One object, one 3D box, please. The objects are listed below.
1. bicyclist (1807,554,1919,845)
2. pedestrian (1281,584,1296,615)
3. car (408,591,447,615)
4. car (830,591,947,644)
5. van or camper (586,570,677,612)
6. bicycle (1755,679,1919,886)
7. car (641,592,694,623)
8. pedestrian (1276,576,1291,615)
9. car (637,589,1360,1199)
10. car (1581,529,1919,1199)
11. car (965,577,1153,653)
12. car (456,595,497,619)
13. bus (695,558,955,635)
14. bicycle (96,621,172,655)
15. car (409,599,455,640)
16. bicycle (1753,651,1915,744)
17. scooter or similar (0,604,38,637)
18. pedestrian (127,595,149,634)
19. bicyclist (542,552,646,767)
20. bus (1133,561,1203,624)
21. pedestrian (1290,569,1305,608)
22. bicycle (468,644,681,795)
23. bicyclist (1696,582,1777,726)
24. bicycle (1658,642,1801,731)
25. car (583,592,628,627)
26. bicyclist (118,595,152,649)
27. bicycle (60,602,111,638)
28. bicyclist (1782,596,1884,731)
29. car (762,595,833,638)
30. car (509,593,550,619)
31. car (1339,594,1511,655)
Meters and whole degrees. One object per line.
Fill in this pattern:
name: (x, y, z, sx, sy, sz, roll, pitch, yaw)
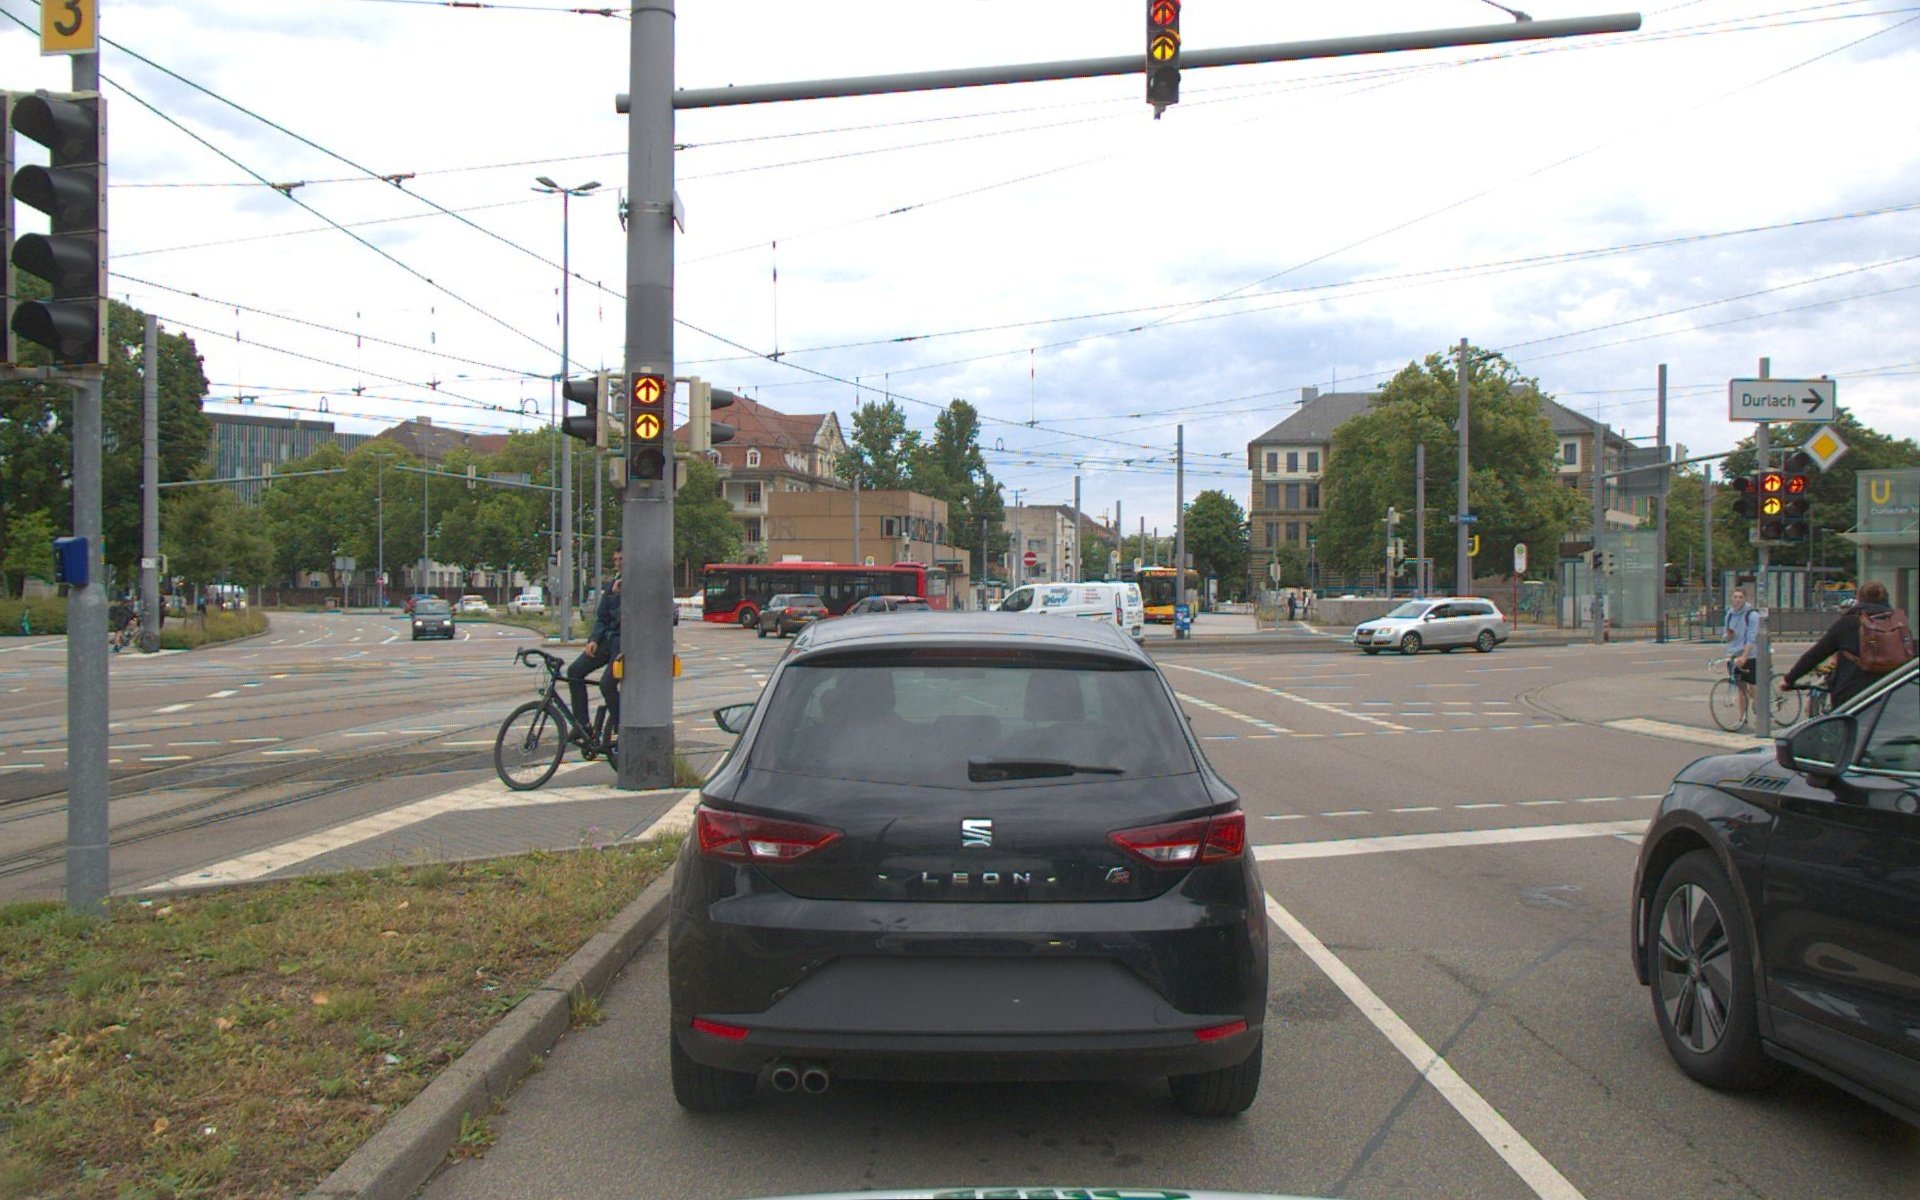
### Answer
bicyclist: (5.739, 0.581, 10.190, 0.603, 1.720, 0.805, 0, 0, -3)
pedestrian: (20.258, -0.019, 102.058, 0.806, 1.886, 1.022, 0, 0, 15)
car: (-41.776, 0.227, 129.602, 1.975, 1.803, 3.954, 0, 0, -33)
car: (-2.328, 0.537, 52.996, 1.842, 1.628, 4.153, 0, 0, -35)
van or camper: (-27.337, -0.743, 137.883, 2.828, 3.390, 7.102, -2, -1, 44)
bicycle: (5.745, 1.088, 10.173, 0.612, 1.073, 2.125, 0, 1, -3)
car: (-15.455, 0.389, 87.370, 1.966, 1.566, 3.972, 0, 0, -23)
pedestrian: (35.815, -0.511, 182.999, 1.358, 4.328, 1.346, 0, 0, 0)
car: (0.068, 0.722, 5.944, 1.710, 1.489, 3.999, 1, 0, -1)
car: (3.309, 0.665, 3.812, 1.865, 1.687, 4.512, 0, 0, -3)
car: (2.793, 0.402, 46.681, 4.917, 2.054, 1.998, 0, 0, 27)
car: (-34.335, 0.450, 117.358, 1.972, 1.668, 3.961, 0, 0, -29)
bus: (-6.350, -0.147, 76.483, 12.094, 3.355, 3.066, 0, 0, 25)
bicycle: (-26.755, 1.224, 53.619, 2.081, 1.046, 0.791, 1, 0, -20)
car: (-20.864, 0.751, 65.272, 1.594, 1.542, 3.644, -1, 1, -19)
bicycle: (10.334, 1.131, 19.546, 1.912, 1.016, 0.598, 0, 0, -22)
scooter or similar: (-38.478, 0.841, 67.199, 1.753, 1.325, 0.623, -1, 0, -33)
pedestrian: (-37.778, 0.646, 76.027, 0.734, 1.764, 0.683, -1, 0, -15)
bicyclist: (-2.941, 0.462, 13.280, 0.649, 1.668, 0.510, 0, 0, -40)
bus: (11.977, -0.410, 94.386, 2.952, 3.325, 13.054, 0, 0, 12)
pedestrian: (37.333, -1.260, 182.999, 1.280, 4.328, 1.346, 0, 0, 0)
bicycle: (-3.053, 0.919, 13.187, 1.599, 1.088, 0.520, -1, 0, -41)
bicyclist: (9.898, 0.673, 21.094, 0.724, 1.782, 0.581, -2, 1, -27)
bicycle: (9.796, 1.082, 21.033, 1.963, 1.016, 0.574, -1, 0, -28)
car: (-21.337, 0.559, 99.376, 1.966, 2.049, 3.972, 0, 0, -23)
bicyclist: (-26.751, 0.709, 53.616, 0.800, 1.685, 0.789, -3, 2, -19)
bicycle: (-36.991, 0.837, 69.968, 0.829, 1.474, 2.255, 0, 0, 4)
bicyclist: (10.289, 0.725, 19.499, 0.871, 1.548, 0.668, 0, 0, -21)
car: (-6.308, 0.598, 63.888, 1.962, 1.593, 4.185, 0, 0, -17)
car: (-30.304, 0.394, 116.328, 1.971, 1.780, 3.964, 0, 0, -28)
car: (12.771, 0.651, 45.375, 4.555, 1.508, 1.712, -2, 1, -25)
